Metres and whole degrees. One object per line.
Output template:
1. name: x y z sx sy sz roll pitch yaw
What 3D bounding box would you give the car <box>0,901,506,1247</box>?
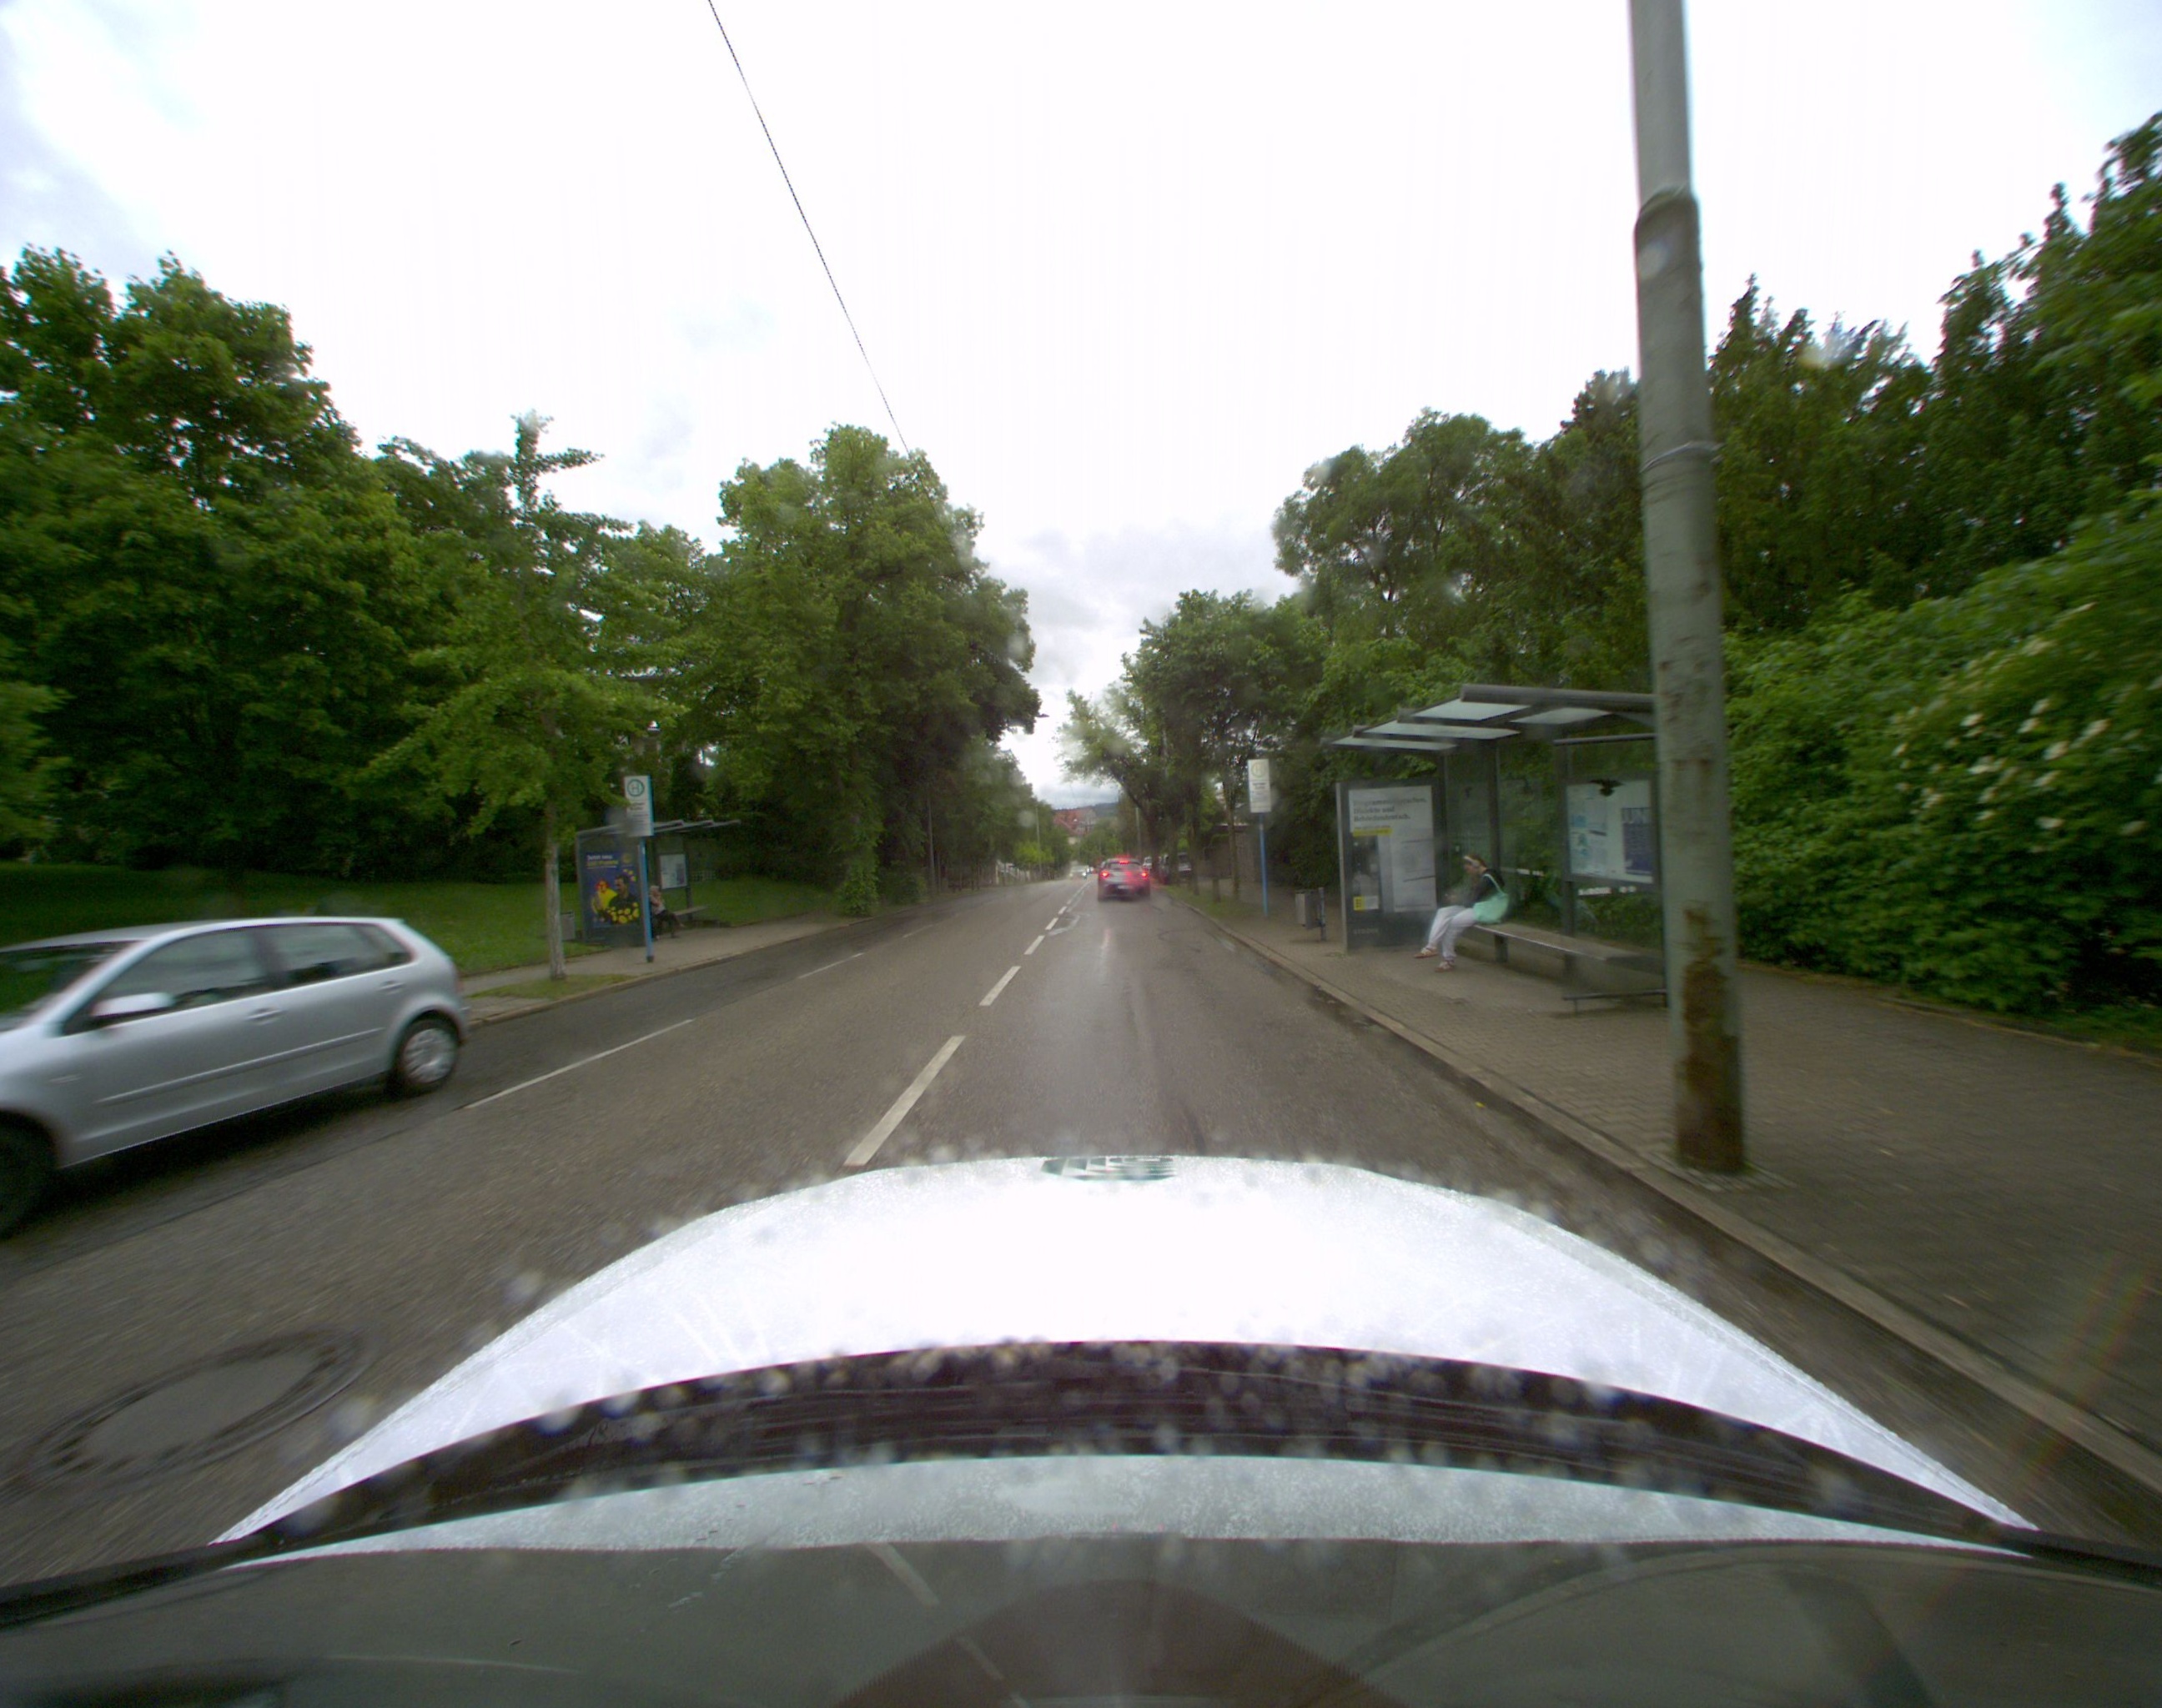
1. car: -5.834 1.165 4.909 1.715 1.399 4.002 -4 0 2

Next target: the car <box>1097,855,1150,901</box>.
1. car: 1.541 0.810 29.460 1.747 1.464 4.004 -1 1 3

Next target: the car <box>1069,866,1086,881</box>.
1. car: -0.317 2.117 88.675 1.715 1.464 4.002 0 0 2

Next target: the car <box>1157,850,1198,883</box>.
1. car: 4.954 0.618 42.308 1.715 1.464 4.002 -4 0 2

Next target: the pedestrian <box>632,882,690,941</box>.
1. pedestrian: -10.629 1.439 20.630 0.932 1.403 0.920 0 0 8

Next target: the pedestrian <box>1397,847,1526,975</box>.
1. pedestrian: 4.390 0.633 9.482 1.067 1.355 0.920 -4 0 8

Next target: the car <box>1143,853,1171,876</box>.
1. car: 5.346 0.713 57.468 1.715 1.464 4.002 0 0 2

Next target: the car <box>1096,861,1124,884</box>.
1. car: 1.947 1.252 54.713 1.747 1.464 4.001 -1 -2 2

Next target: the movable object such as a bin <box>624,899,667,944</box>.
1. movable object such as a bin: -10.637 1.637 19.888 0.758 1.043 0.500 0 0 8

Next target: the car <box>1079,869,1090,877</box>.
1. car: 0.680 3.659 157.201 1.714 1.464 4.003 0 -2 4
